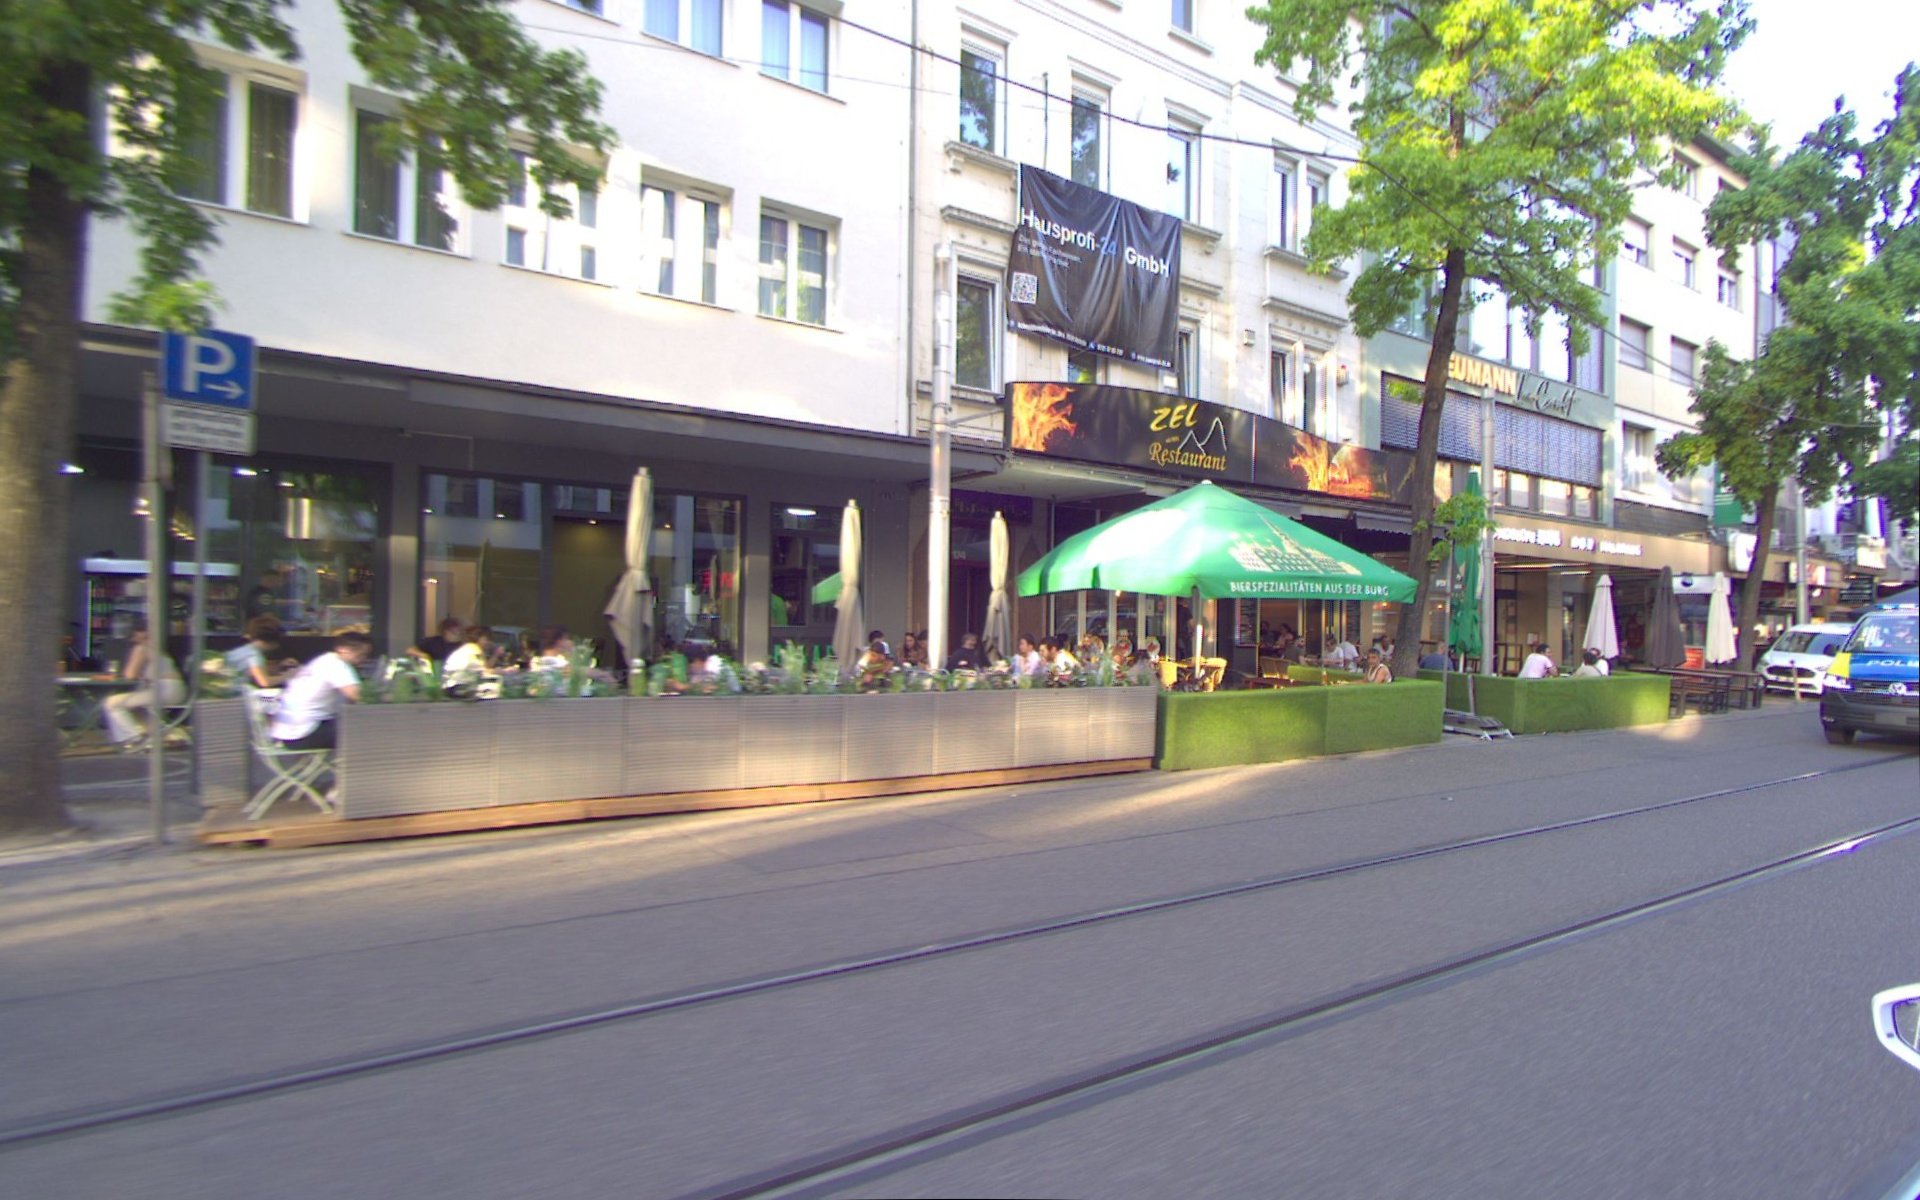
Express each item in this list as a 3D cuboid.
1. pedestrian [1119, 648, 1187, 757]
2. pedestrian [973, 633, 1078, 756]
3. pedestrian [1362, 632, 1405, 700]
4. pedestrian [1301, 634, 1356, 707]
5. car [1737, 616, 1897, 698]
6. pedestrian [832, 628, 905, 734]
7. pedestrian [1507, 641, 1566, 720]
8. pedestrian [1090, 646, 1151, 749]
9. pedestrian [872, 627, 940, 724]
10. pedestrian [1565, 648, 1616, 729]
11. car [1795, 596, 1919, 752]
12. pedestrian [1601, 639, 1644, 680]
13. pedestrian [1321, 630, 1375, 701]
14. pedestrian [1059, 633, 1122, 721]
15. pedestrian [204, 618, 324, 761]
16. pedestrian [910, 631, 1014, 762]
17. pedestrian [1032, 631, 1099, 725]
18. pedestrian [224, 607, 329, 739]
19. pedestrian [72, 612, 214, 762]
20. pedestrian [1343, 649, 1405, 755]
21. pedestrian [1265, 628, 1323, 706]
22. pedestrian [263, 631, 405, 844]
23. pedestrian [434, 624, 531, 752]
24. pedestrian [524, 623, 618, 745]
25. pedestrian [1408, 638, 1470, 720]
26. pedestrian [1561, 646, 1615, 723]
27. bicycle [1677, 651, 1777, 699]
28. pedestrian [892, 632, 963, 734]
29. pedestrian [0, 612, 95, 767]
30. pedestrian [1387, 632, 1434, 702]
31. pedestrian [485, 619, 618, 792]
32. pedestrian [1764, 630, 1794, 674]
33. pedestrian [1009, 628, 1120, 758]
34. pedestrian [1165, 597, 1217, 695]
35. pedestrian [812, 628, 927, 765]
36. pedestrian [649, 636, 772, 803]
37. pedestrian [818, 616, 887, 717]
[{"bbox_3d":[2.327,1.215,12.121,0.538,1.252,0.582,2,-1,-32],"label":"pedestrian"},{"bbox_3d":[0.784,1.104,12.010,1.001,1.380,0.712,2,-1,-32],"label":"pedestrian"},{"bbox_3d":[8.989,1.399,21.338,0.672,1.396,0.534,3,-1,-33],"label":"pedestrian"},{"bbox_3d":[7.057,1.345,19.236,0.757,1.348,0.650,3,-1,-33],"label":"pedestrian"},{"bbox_3d":[21.612,1.438,25.289,4.467,1.842,1.784,3,0,-32],"label":"car"},{"bbox_3d":[-1.267,1.110,13.914,0.757,1.396,0.650,3,-1,-33],"label":"pedestrian"},{"bbox_3d":[10.365,1.437,18.053,0.723,1.363,0.640,3,-1,-32],"label":"pedestrian"},{"bbox_3d":[2.013,1.214,12.645,0.505,1.234,0.540,2,-1,-32],"label":"pedestrian"},{"bbox_3d":[-0.813,1.116,15.050,0.757,1.396,0.650,3,-1,-33],"label":"pedestrian"},{"bbox_3d":[11.426,1.592,18.205,0.559,1.396,0.576,3,-1,-33],"label":"pedestrian"},{"bbox_3d":[14.093,1.017,14.448,4.800,2.002,1.981,2,-1,-34],"label":"car"},{"bbox_3d":[19.112,1.707,28.967,0.722,1.109,0.773,3,1,-34],"label":"pedestrian"},{"bbox_3d":[7.904,1.322,20.469,0.757,1.396,0.686,3,-1,-33],"label":"pedestrian"},{"bbox_3d":[2.160,1.258,16.586,0.757,1.396,0.650,3,-1,-33],"label":"pedestrian"},{"bbox_3d":[-6.951,0.871,10.089,0.871,1.337,0.881,3,-1,-30],"label":"pedestrian"},{"bbox_3d":[0.018,1.061,11.324,0.914,1.380,0.712,2,-1,-32],"label":"pedestrian"},{"bbox_3d":[1.634,1.196,15.603,0.757,1.396,0.650,3,-1,-33],"label":"pedestrian"},{"bbox_3d":[-7.263,0.763,10.710,0.832,1.337,0.619,3,-1,-31],"label":"pedestrian"},{"bbox_3d":[-7.771,0.806,9.603,0.871,1.337,0.843,3,-1,-30],"label":"pedestrian"},{"bbox_3d":[5.712,1.391,13.862,0.559,1.396,0.544,3,-1,-33],"label":"pedestrian"},{"bbox_3d":[6.166,1.231,18.536,0.757,1.396,0.650,3,-1,-33],"label":"pedestrian"},{"bbox_3d":[-4.452,0.938,7.178,0.784,1.395,0.689,2,-1,-32],"label":"pedestrian"},{"bbox_3d":[-5.338,0.960,11.219,0.871,1.337,0.881,3,-1,-30],"label":"pedestrian"},{"bbox_3d":[-4.533,0.951,11.688,0.871,1.337,0.843,3,-1,-30],"label":"pedestrian"},{"bbox_3d":[7.914,1.292,16.597,0.594,1.281,0.704,3,-1,-33],"label":"pedestrian"},{"bbox_3d":[10.834,1.450,17.331,0.635,1.283,0.548,3,-1,-33],"label":"pedestrian"},{"bbox_3d":[18.225,1.777,23.878,1.981,1.082,0.613,1,-1,-5],"label":"bicycle"},{"bbox_3d":[-0.475,1.179,14.451,0.757,1.396,0.650,3,-1,-33],"label":"pedestrian"},{"bbox_3d":[-8.573,0.786,9.138,0.871,1.337,0.881,3,-1,-30],"label":"pedestrian"},{"bbox_3d":[9.292,1.383,20.719,0.641,1.396,0.601,3,-1,-33],"label":"pedestrian"},{"bbox_3d":[-3.513,0.873,8.630,0.914,1.380,0.712,2,-1,-32],"label":"pedestrian"},{"bbox_3d":[28.465,1.806,34.895,0.505,1.453,0.606,2,1,-31],"label":"pedestrian"},{"bbox_3d":[1.181,1.025,11.383,1.001,1.380,0.712,2,-1,-32],"label":"pedestrian"},{"bbox_3d":[4.346,0.854,18.911,0.646,1.789,0.762,1,-1,38],"label":"pedestrian"},{"bbox_3d":[-0.980,1.014,10.846,1.001,1.380,0.712,2,-1,-32],"label":"pedestrian"},{"bbox_3d":[-2.237,1.034,9.001,0.862,1.380,0.712,2,-1,-32],"label":"pedestrian"},{"bbox_3d":[-1.560,0.951,14.556,0.757,1.396,0.650,3,-1,-33],"label":"pedestrian"}]
